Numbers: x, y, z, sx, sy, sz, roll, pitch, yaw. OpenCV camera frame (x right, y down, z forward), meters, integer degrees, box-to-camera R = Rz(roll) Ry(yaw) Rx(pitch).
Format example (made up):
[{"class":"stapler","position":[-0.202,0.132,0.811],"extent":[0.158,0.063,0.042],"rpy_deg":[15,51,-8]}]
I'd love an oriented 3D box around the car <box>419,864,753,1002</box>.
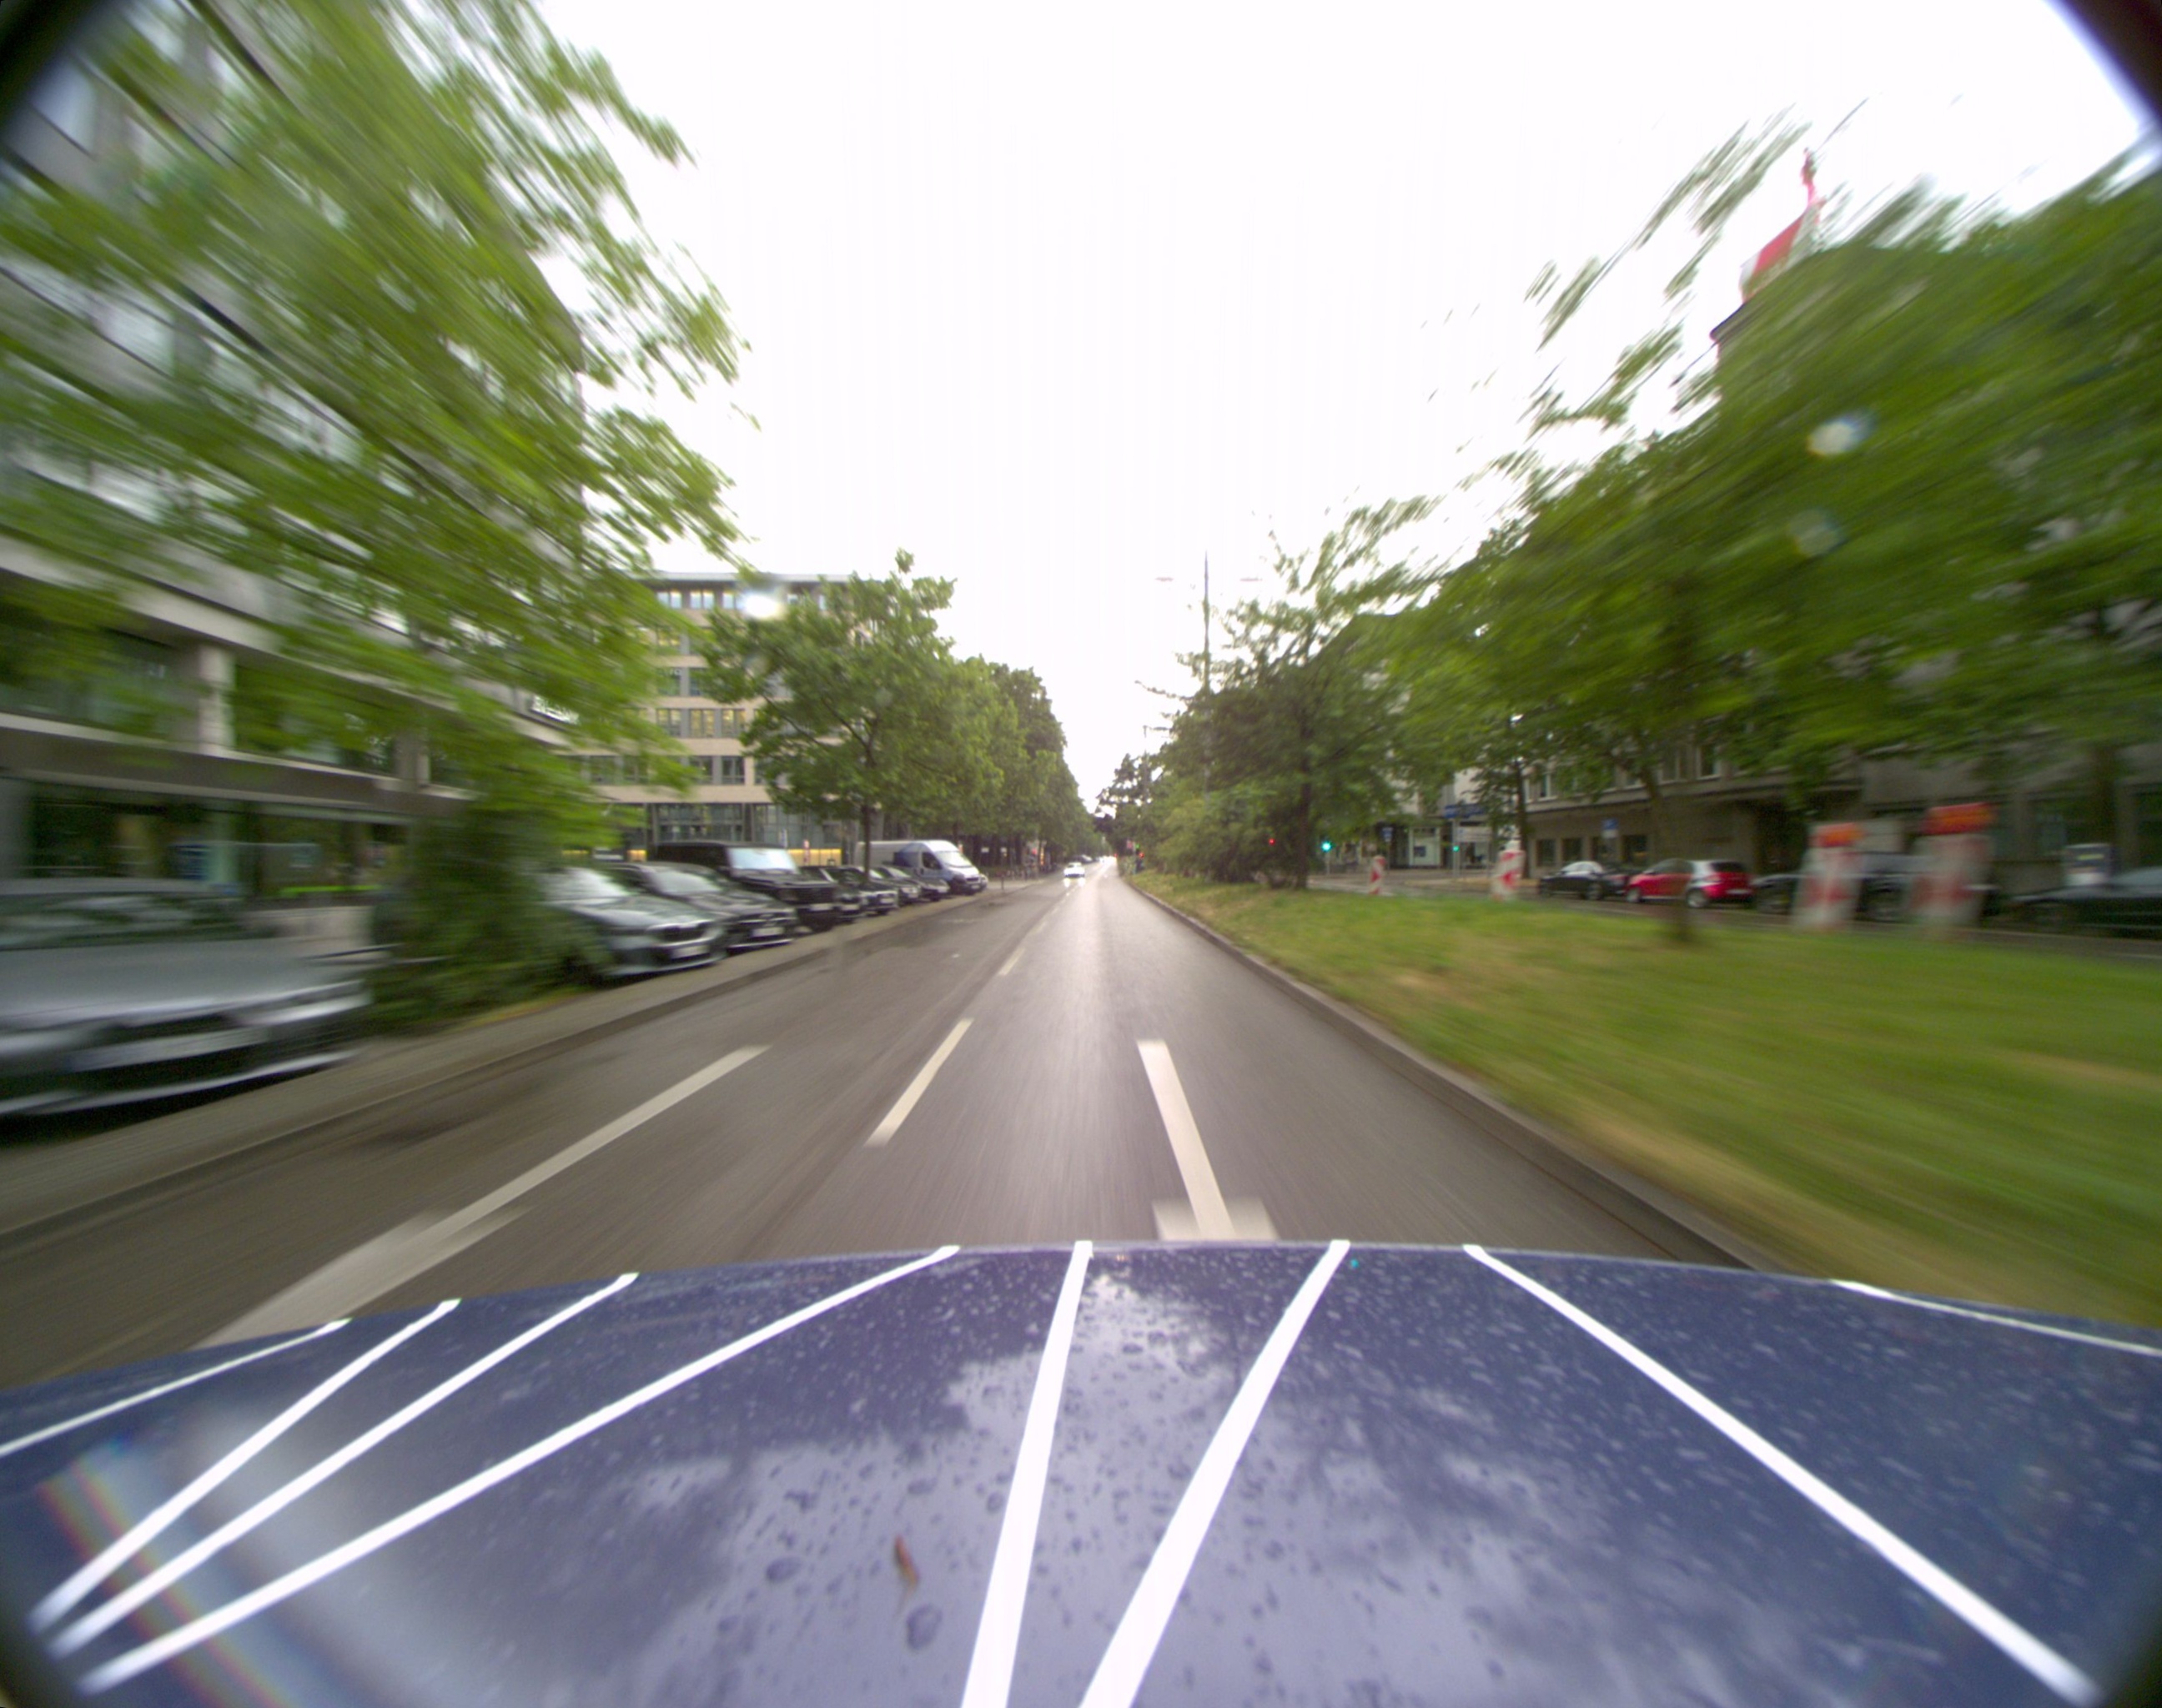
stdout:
[{"class":"car","position":[-6.832,0.935,10.443],"extent":[4.346,1.529,1.920],"rpy_deg":[-1,0,27]}]

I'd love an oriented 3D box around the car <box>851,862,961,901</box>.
[{"class":"car","position":[-6.811,1.036,29.558],"extent":[4.051,1.416,1.711],"rpy_deg":[-1,0,30]}]

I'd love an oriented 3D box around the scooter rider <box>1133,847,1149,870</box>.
[{"class":"scooter rider","position":[4.916,0.361,62.600],"extent":[0.979,1.892,1.024],"rpy_deg":[0,1,30]}]

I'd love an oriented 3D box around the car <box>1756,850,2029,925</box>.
[{"class":"car","position":[19.582,0.724,18.703],"extent":[1.867,1.612,4.466],"rpy_deg":[0,0,-2]}]

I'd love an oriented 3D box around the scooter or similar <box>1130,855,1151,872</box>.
[{"class":"scooter or similar","position":[4.891,0.771,62.552],"extent":[0.979,1.347,1.874],"rpy_deg":[0,0,31]}]

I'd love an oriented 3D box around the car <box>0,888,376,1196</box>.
[{"class":"car","position":[-7.272,1.050,5.574],"extent":[4.710,1.465,1.920],"rpy_deg":[-1,0,33]}]

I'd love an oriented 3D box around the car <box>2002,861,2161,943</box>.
[{"class":"car","position":[20.128,0.869,13.513],"extent":[1.867,1.421,4.565],"rpy_deg":[0,0,-2]}]

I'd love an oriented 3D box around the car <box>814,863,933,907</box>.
[{"class":"car","position":[-7.435,1.075,27.142],"extent":[4.051,1.416,1.711],"rpy_deg":[-1,0,30]}]

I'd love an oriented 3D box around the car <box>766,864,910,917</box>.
[{"class":"car","position":[-7.123,1.023,22.202],"extent":[4.003,1.416,1.711],"rpy_deg":[-1,0,30]}]

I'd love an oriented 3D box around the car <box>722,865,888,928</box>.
[{"class":"car","position":[-7.060,1.032,19.358],"extent":[4.051,1.416,1.740],"rpy_deg":[-1,0,30]}]

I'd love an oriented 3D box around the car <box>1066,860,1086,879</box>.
[{"class":"car","position":[-0.483,1.512,74.136],"extent":[1.791,1.736,4.574],"rpy_deg":[0,0,-2]}]

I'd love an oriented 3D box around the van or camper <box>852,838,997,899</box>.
[{"class":"van or camper","position":[-6.892,0.616,33.221],"extent":[6.249,2.433,2.320],"rpy_deg":[-1,0,31]}]

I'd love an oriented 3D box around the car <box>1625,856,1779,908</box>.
[{"class":"car","position":[19.121,0.801,23.625],"extent":[1.690,1.493,3.691],"rpy_deg":[0,0,-2]}]

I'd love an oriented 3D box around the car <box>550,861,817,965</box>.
[{"class":"car","position":[-6.952,0.917,13.229],"extent":[4.380,1.529,1.920],"rpy_deg":[-1,0,27]}]

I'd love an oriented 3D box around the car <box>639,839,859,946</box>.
[{"class":"car","position":[-7.080,0.742,16.110],"extent":[4.506,1.981,1.925],"rpy_deg":[-1,0,30]}]

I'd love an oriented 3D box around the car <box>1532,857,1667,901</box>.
[{"class":"car","position":[19.089,0.855,28.254],"extent":[1.791,1.478,4.574],"rpy_deg":[0,0,-2]}]
